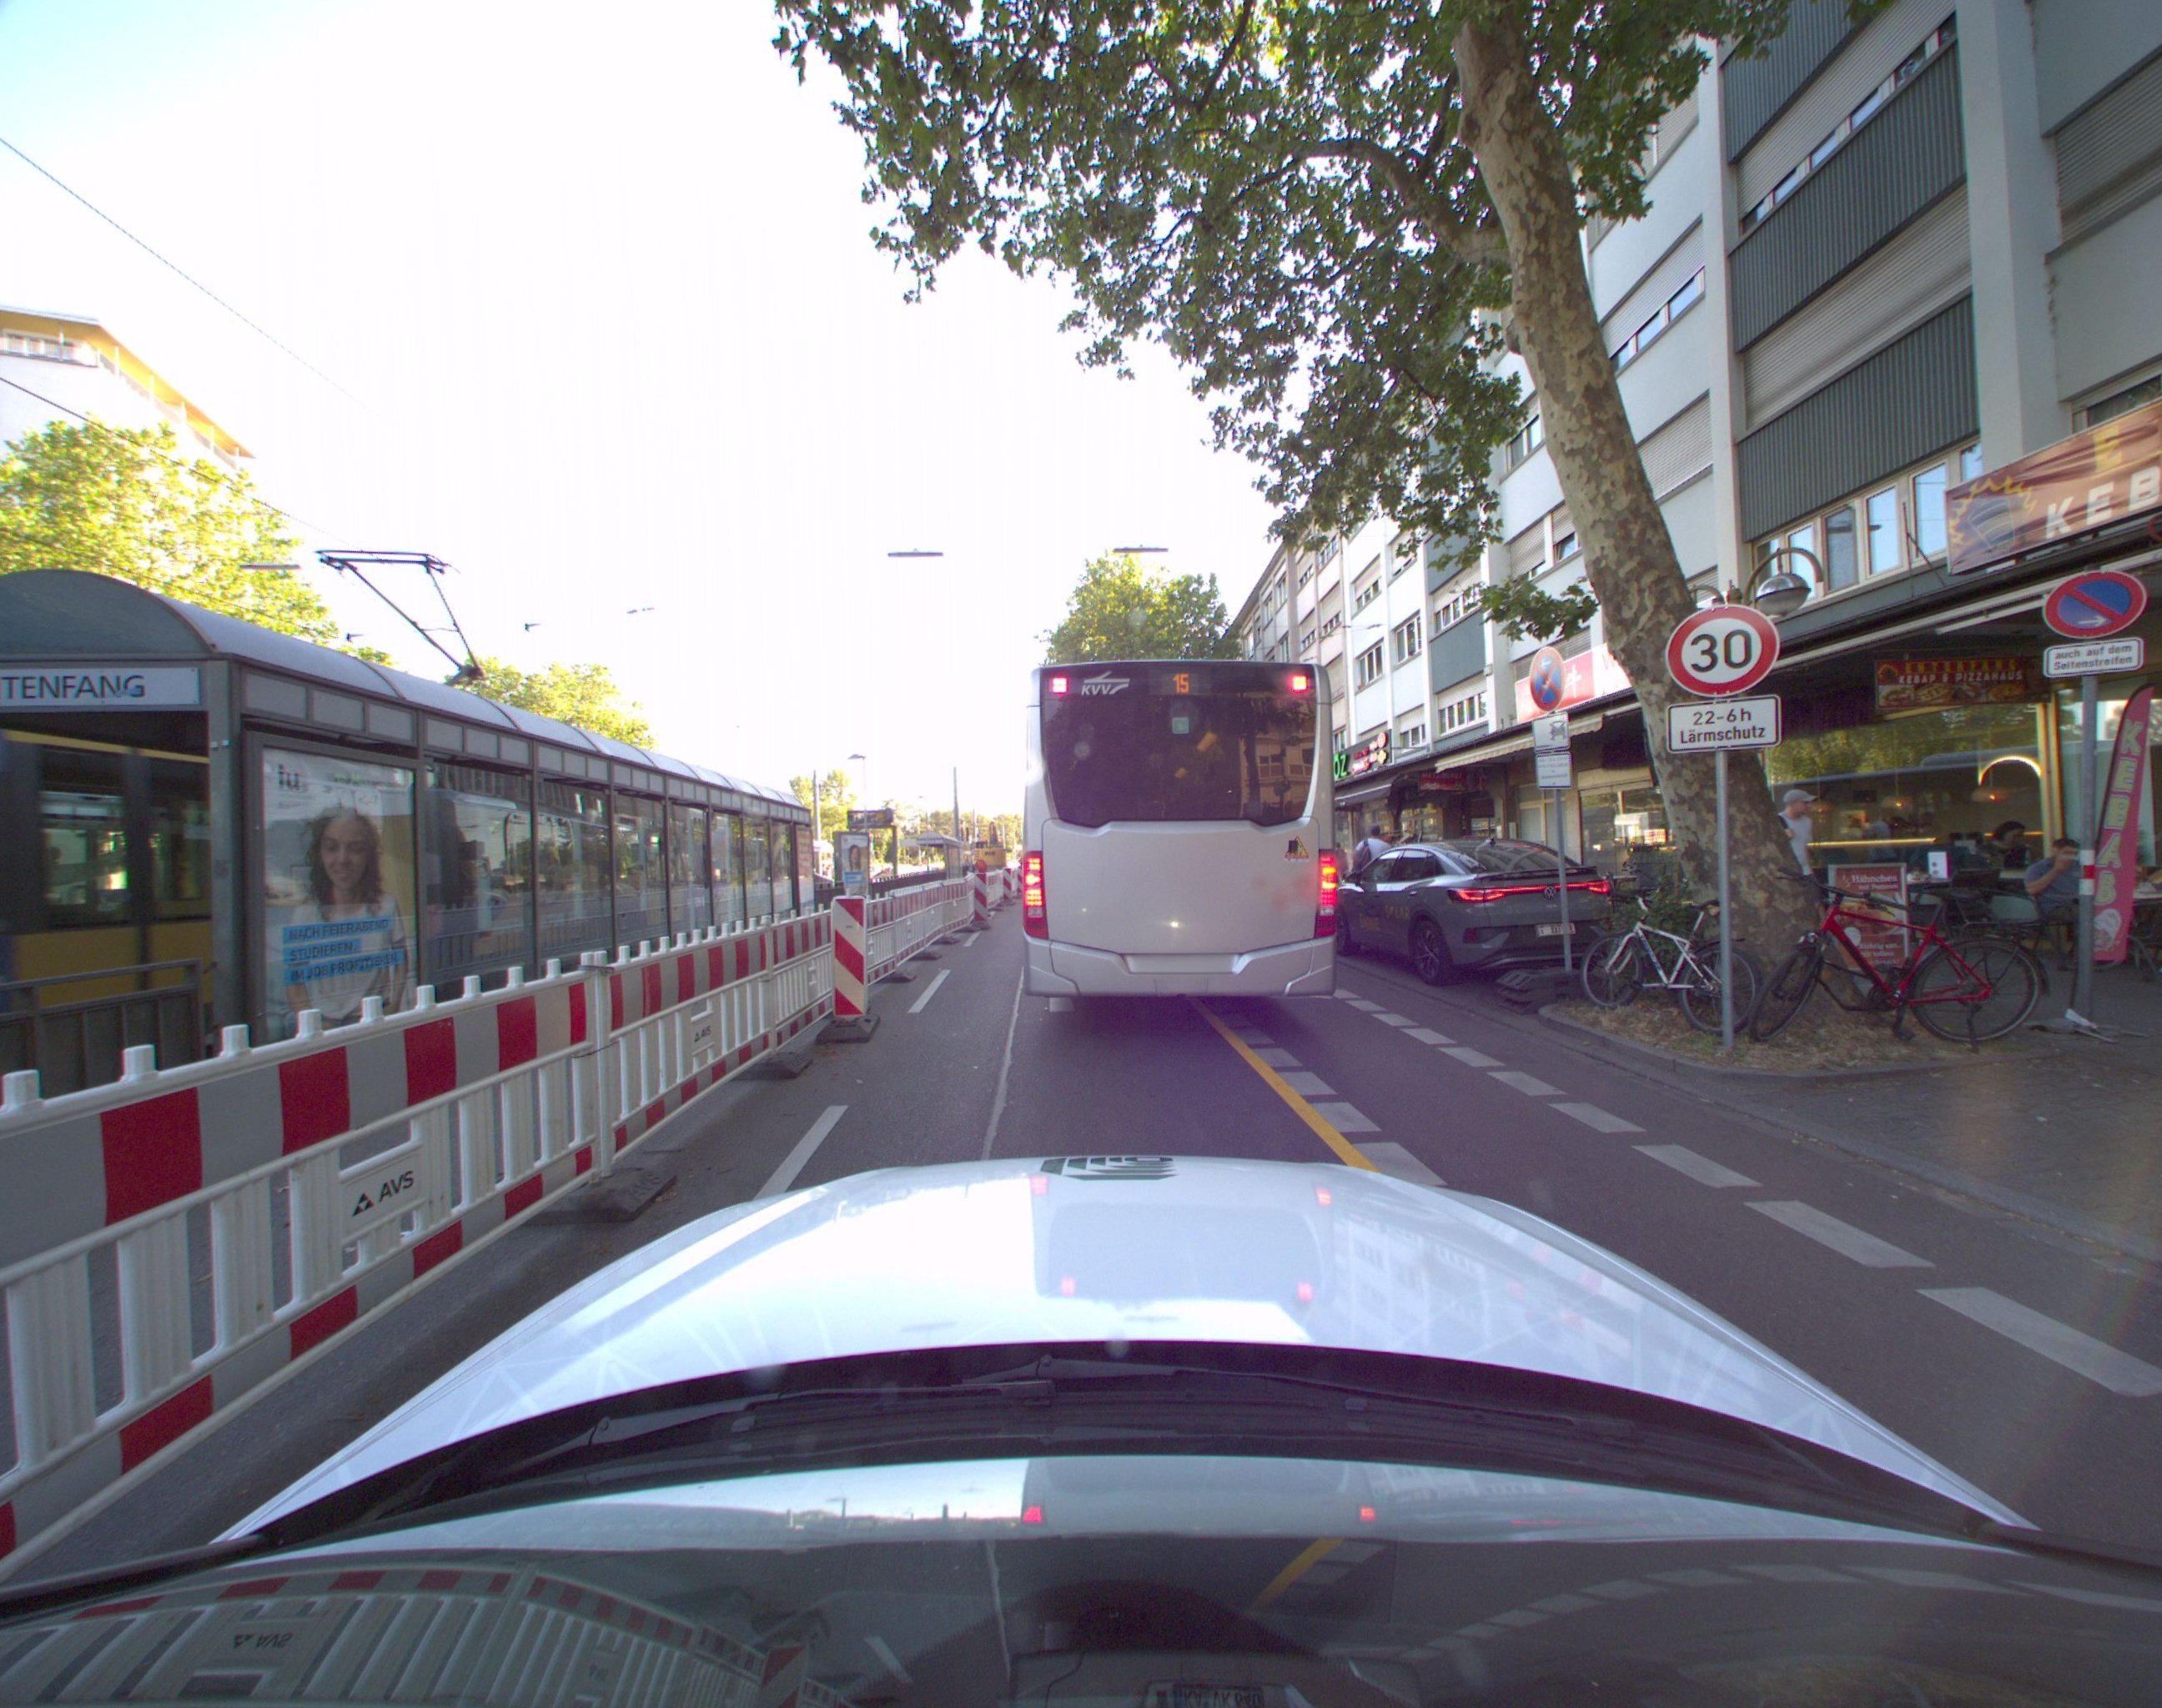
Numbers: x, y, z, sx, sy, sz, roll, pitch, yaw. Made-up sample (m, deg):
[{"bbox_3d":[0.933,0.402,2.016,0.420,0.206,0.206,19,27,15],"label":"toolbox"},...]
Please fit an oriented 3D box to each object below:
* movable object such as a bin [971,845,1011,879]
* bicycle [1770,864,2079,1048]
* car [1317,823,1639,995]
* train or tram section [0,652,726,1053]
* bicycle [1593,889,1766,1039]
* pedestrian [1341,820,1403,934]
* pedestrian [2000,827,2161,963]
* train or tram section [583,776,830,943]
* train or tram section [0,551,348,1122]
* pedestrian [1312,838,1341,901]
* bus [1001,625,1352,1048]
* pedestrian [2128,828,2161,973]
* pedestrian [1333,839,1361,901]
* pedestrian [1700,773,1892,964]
[{"bbox_3d":[-7.045,0.600,63.995,2.800,2.462,3.995,-2,0,-3],"label":"movable object such as a bin"},{"bbox_3d":[5.496,0.673,5.359,1.450,1.066,0.297,-6,2,13],"label":"bicycle"},{"bbox_3d":[4.606,0.560,10.302,1.736,1.597,4.294,-4,0,-3],"label":"car"},{"bbox_3d":[-8.707,0.002,12.344,2.831,3.487,10.319,-2,0,-5],"label":"train or tram section"},{"bbox_3d":[4.483,0.785,6.177,0.294,0.927,1.127,-6,2,-8],"label":"bicycle"},{"bbox_3d":[5.389,0.415,15.118,0.767,2.013,0.713,-3,-1,-2],"label":"pedestrian"},{"bbox_3d":[9.625,0.383,7.836,0.673,1.203,0.706,-5,-1,11],"label":"pedestrian"},{"bbox_3d":[-9.596,0.148,22.612,2.812,3.487,10.319,-2,0,-5],"label":"train or tram section"},{"bbox_3d":[-7.978,-0.098,2.123,2.863,3.487,10.333,-2,0,-1],"label":"train or tram section"},{"bbox_3d":[8.014,0.490,26.616,0.688,2.014,0.696,-2,-1,0],"label":"pedestrian"},{"bbox_3d":[0.919,-0.124,11.350,2.598,3.170,10.297,-1,0,2],"label":"bus"},{"bbox_3d":[9.563,0.387,6.799,0.612,1.243,0.714,-5,-1,11],"label":"pedestrian"},{"bbox_3d":[8.764,0.528,26.825,0.611,2.014,0.696,-2,-1,-1],"label":"pedestrian"},{"bbox_3d":[7.636,0.149,8.778,1.018,1.890,1.123,-2,-1,1],"label":"pedestrian"}]
